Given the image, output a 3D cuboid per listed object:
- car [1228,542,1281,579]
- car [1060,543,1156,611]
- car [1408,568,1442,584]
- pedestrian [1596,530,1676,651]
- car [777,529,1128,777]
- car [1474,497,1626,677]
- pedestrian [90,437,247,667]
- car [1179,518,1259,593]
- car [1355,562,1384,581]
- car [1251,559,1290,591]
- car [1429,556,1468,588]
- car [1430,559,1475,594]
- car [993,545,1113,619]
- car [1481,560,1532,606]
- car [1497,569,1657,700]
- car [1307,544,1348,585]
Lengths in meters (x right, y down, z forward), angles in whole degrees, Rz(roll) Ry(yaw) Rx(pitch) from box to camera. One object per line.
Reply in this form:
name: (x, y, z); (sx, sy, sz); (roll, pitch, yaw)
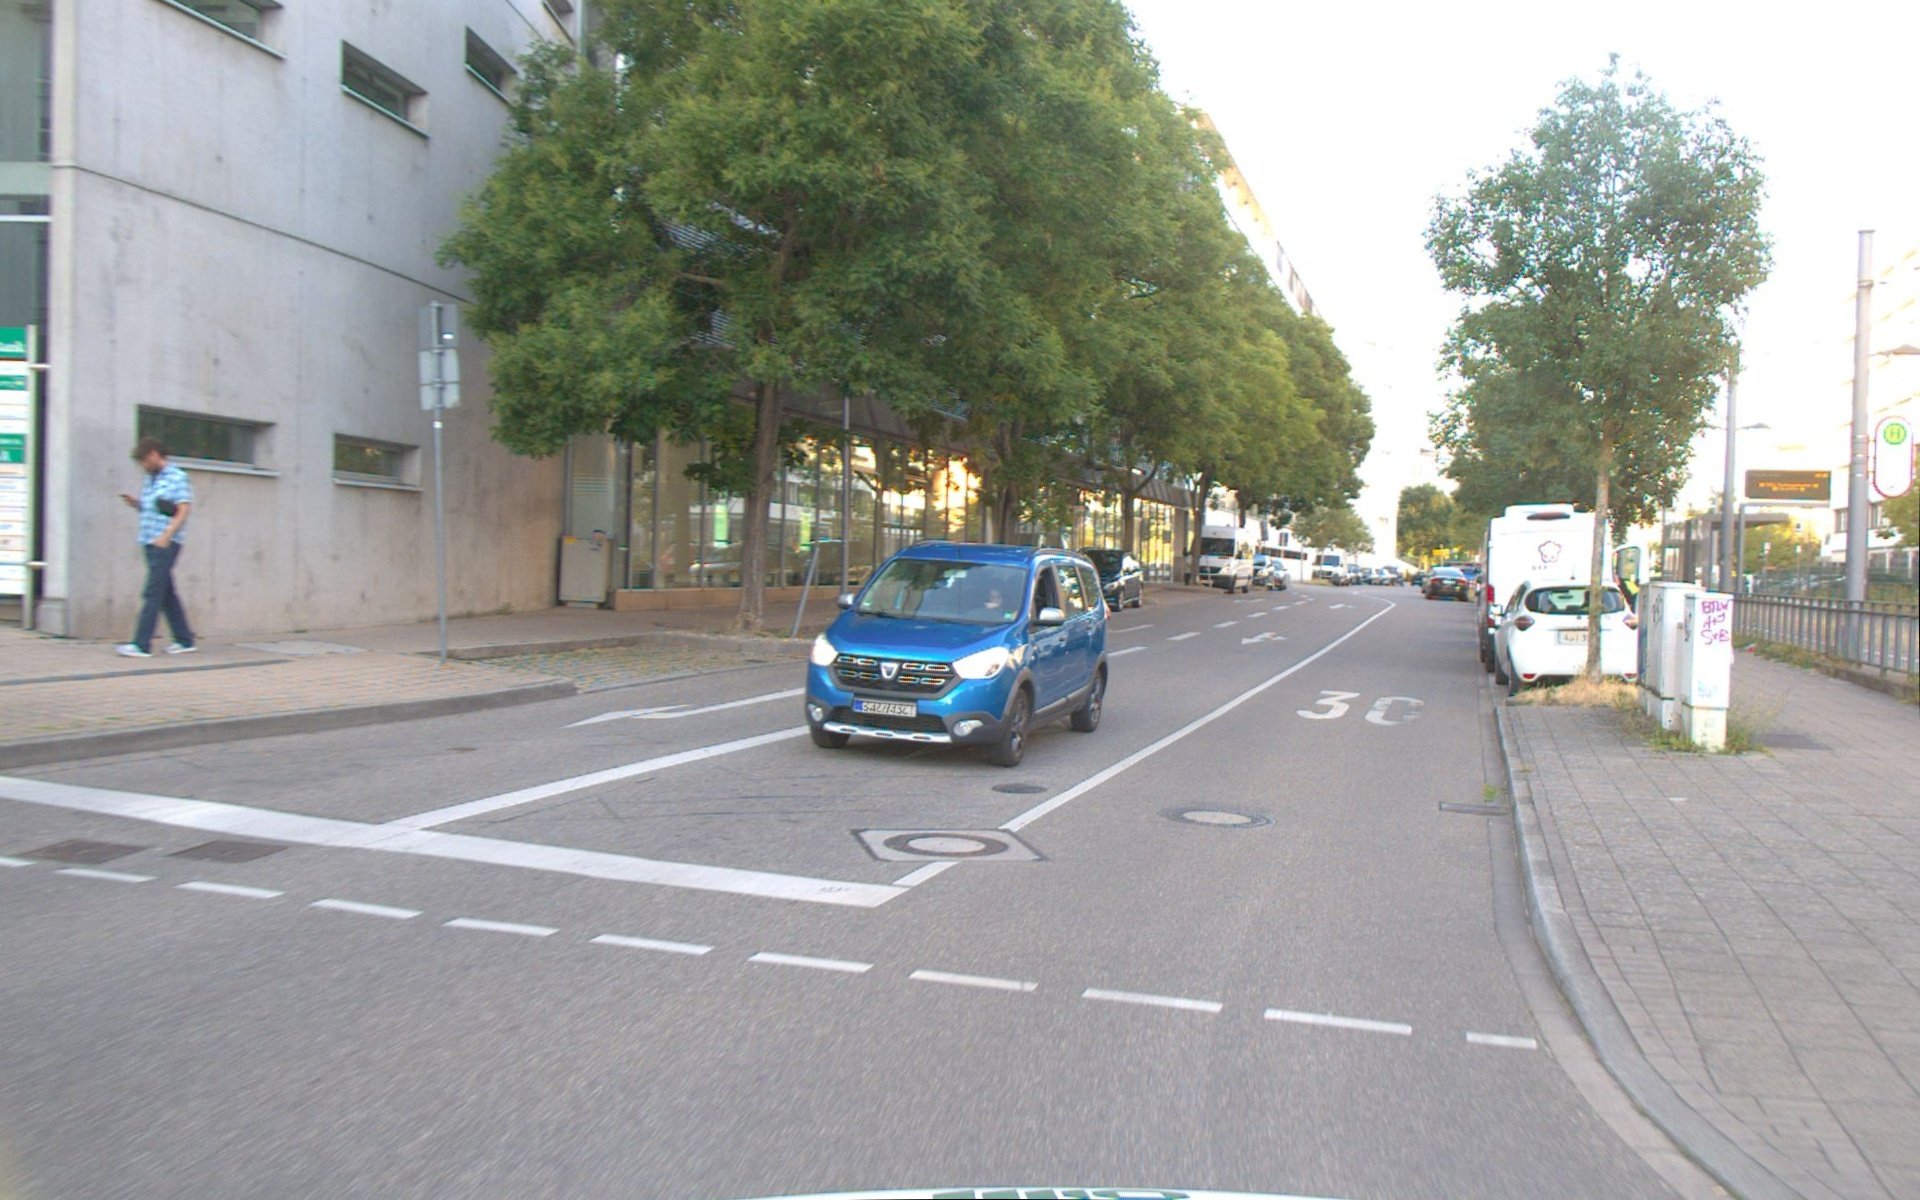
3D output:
car: (13.510, -1.816, 75.815); (1.805, 1.598, 4.270); (3, 2, 17)
car: (4.038, -0.648, 44.423); (1.557, 1.595, 4.474); (6, 3, 17)
car: (45.822, -2.354, 162.889); (1.911, 1.406, 4.386); (6, 3, 33)
pedestrian: (11.740, -0.165, 28.725); (0.965, 2.048, 0.801); (1, 2, -28)
car: (0.124, 0.325, 14.155); (1.711, 1.707, 4.276); (3, 2, 18)
car: (9.807, -0.249, 27.861); (2.007, 2.703, 5.439); (-1, 1, 16)
pedestrian: (-7.084, -0.429, 14.834); (0.684, 1.913, 0.879); (9, 3, 15)
car: (10.365, -1.767, 65.655); (2.056, 2.709, 6.956); (3, 2, 17)
car: (35.721, -2.472, 144.219); (1.688, 1.482, 4.270); (5, 3, 23)
car: (15.548, -1.262, 82.769); (1.678, 1.477, 4.403); (3, 2, 13)
car: (24.097, -1.406, 81.713); (1.640, 1.477, 4.191); (3, 2, 14)
car: (22.593, -1.120, 76.006); (1.749, 1.477, 4.520); (3, 2, 14)
car: (2.277, -0.466, 39.070); (1.668, 1.486, 4.630); (6, 3, 17)
car: (19.807, -0.645, 59.961); (1.672, 1.608, 4.481); (1, 1, 18)
car: (8.389, 0.409, 22.763); (1.711, 1.611, 4.016); (-1, 1, 16)
car: (25.864, -2.537, 116.124); (1.918, 2.661, 6.896); (5, 3, 18)
